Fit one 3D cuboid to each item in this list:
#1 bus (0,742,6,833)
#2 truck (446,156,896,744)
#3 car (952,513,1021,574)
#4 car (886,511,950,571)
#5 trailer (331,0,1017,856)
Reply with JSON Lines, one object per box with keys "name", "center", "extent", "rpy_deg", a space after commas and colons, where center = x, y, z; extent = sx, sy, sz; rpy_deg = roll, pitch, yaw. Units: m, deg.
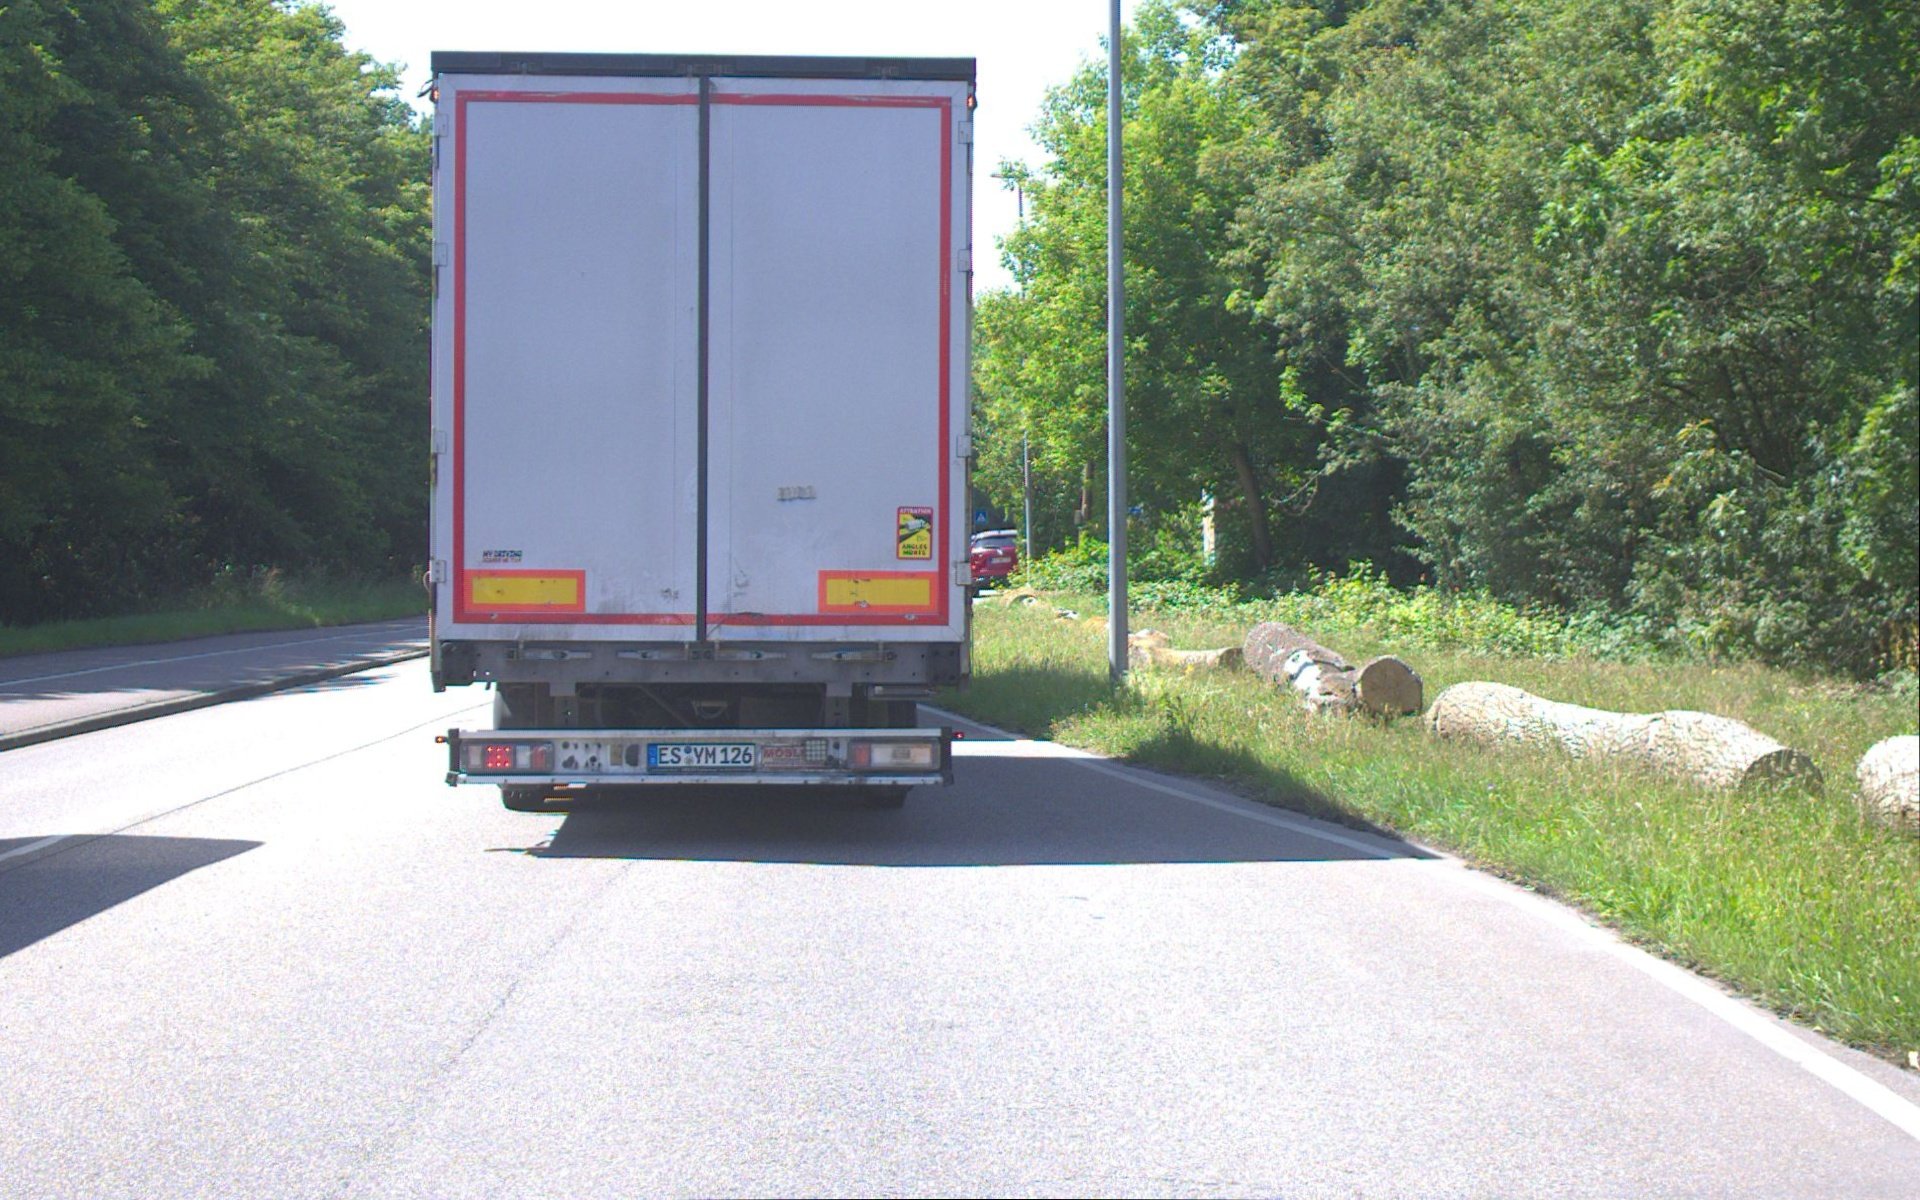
{"name": "bus", "center": [-6.241, -0.115, 11.259], "extent": [2.749, 3.034, 11.939], "rpy_deg": [-4, 1, 0]}
{"name": "truck", "center": [-2.317, -1.156, 27.835], "extent": [3.077, 4.055, 7.961], "rpy_deg": [-1, 2, -5]}
{"name": "car", "center": [0.660, -1.454, 88.082], "extent": [1.710, 1.525, 3.851], "rpy_deg": [-1, 1, 0]}
{"name": "car", "center": [-1.430, -2.047, 118.642], "extent": [1.993, 2.007, 4.000], "rpy_deg": [-1, 1, 2]}
{"name": "trailer", "center": [-1.705, -0.992, 20.552], "extent": [3.077, 4.056, 9.811], "rpy_deg": [-1, 1, -5]}
